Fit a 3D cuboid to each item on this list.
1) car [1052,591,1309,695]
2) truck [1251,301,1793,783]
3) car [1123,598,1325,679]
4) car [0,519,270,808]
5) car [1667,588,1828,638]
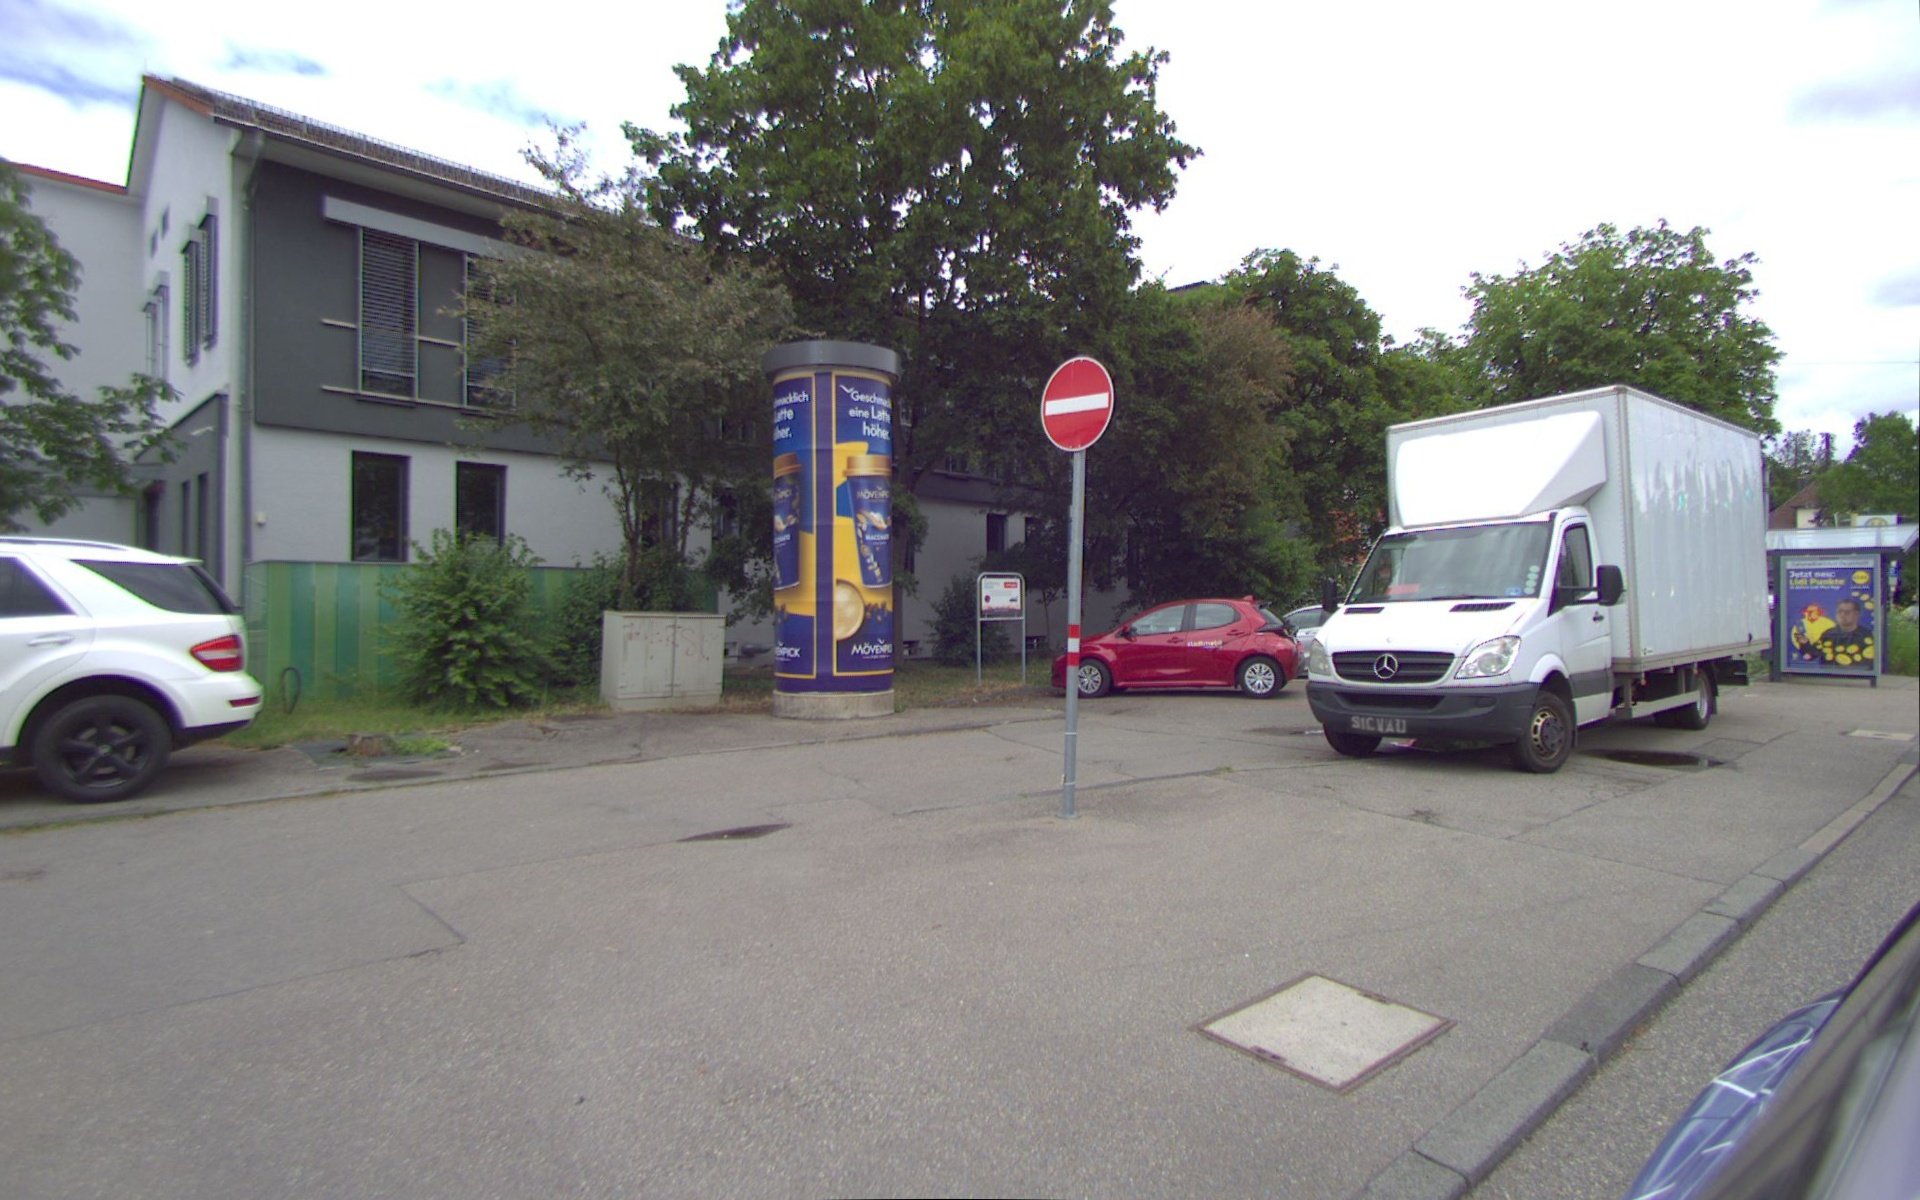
[{"bbox_3d":[3.421,0.632,15.728,3.687,1.464,1.595,-1,-2,23],"label":"car"},{"bbox_3d":[6.473,-0.442,10.952,7.671,3.570,2.578,0,0,-40],"label":"truck"},{"bbox_3d":[5.272,0.714,20.225,3.754,1.492,1.787,0,0,19],"label":"car"},{"bbox_3d":[-7.399,0.395,6.735,4.440,1.860,1.997,-1,2,-42],"label":"car"},{"bbox_3d":[29.076,0.467,37.462,4.602,1.771,1.852,1,0,-3],"label":"car"}]
